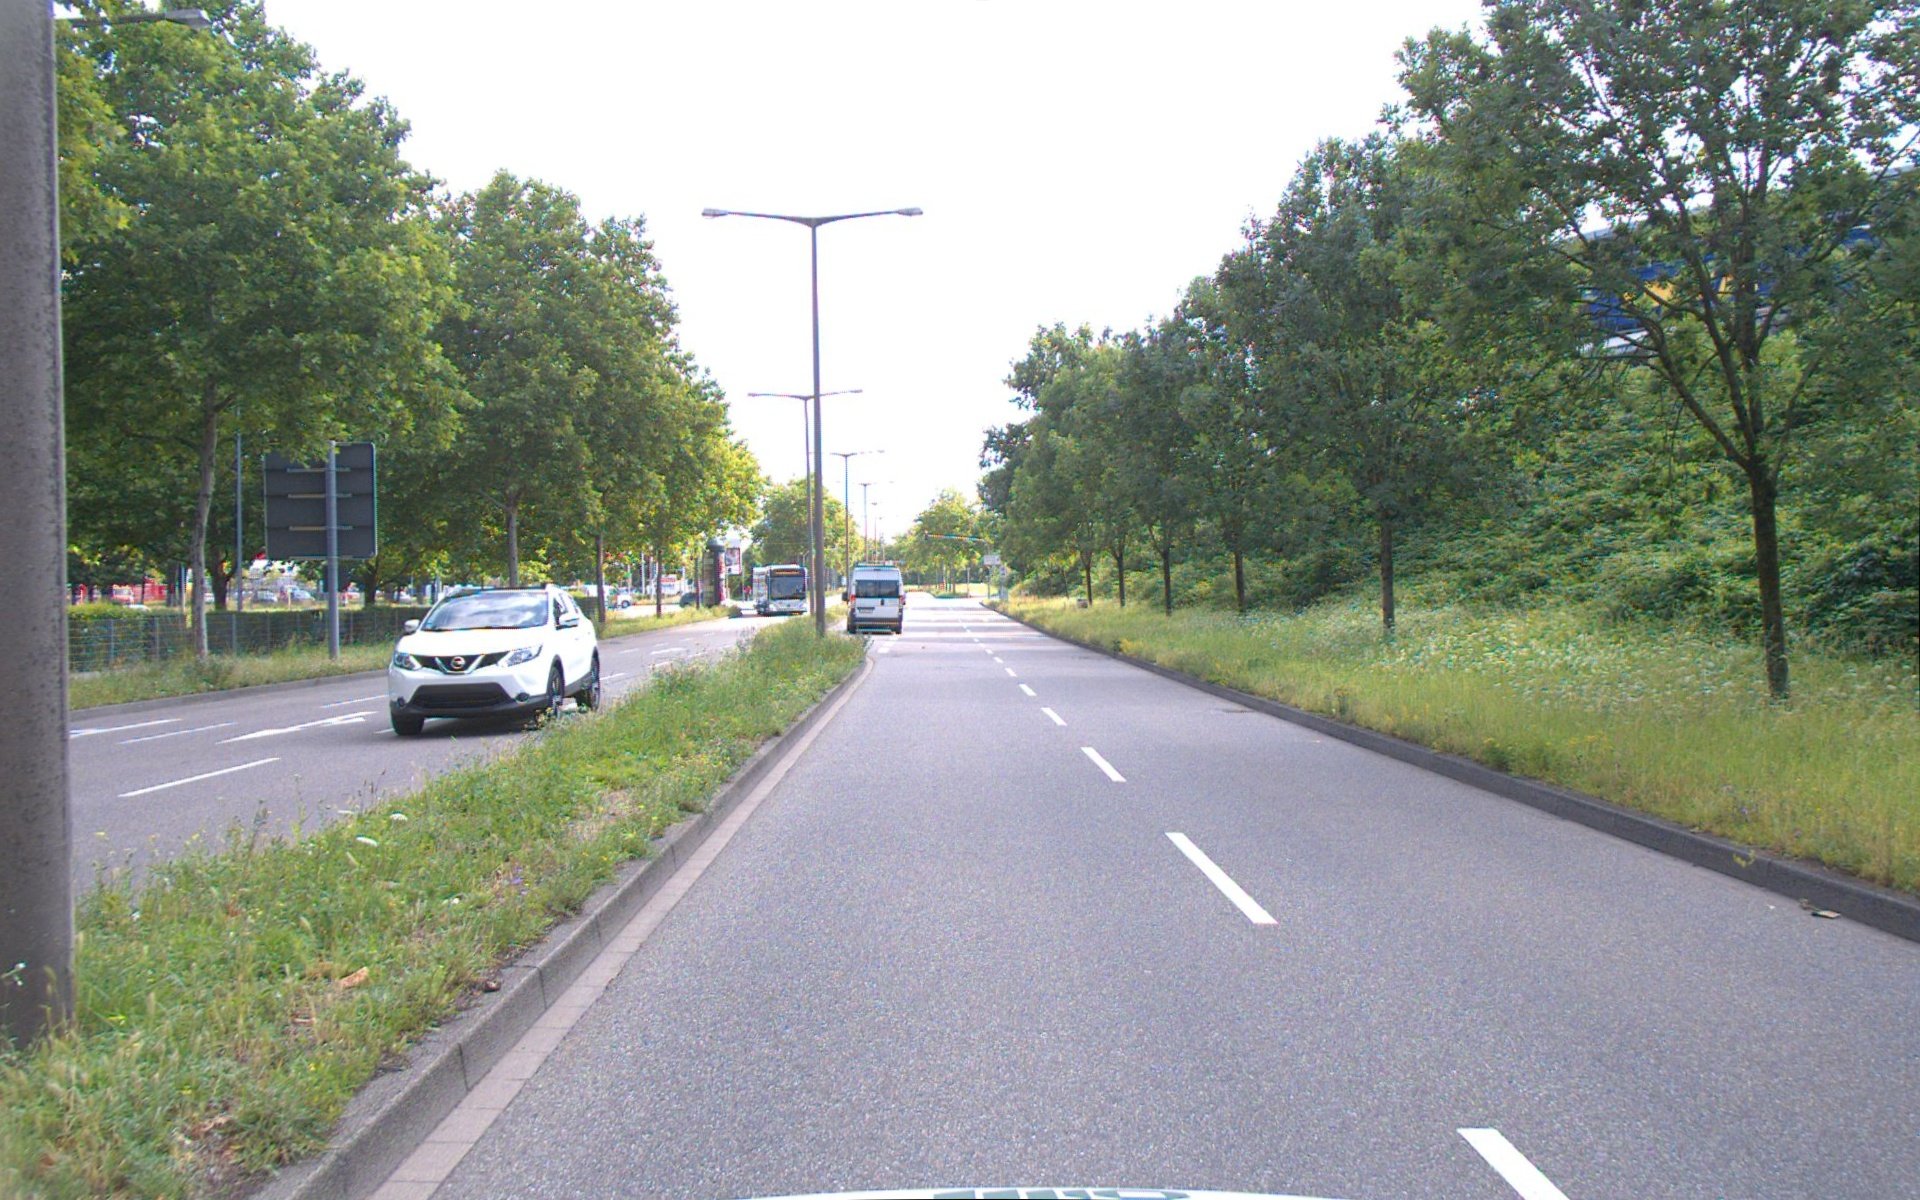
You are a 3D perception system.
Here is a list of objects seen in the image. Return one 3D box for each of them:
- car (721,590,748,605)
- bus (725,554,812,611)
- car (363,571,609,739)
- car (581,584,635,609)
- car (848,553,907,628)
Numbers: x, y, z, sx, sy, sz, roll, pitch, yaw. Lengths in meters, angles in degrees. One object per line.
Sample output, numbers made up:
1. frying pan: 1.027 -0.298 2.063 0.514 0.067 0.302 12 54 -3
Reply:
1. car: -16.633 -0.179 122.024 1.527 1.059 3.413 -1 0 -1
2. bus: -12.478 -1.025 106.728 3.062 3.331 12.271 -2 0 -18
3. car: -5.417 0.561 19.497 1.778 1.668 4.349 -3 0 -3
4. car: -28.807 -0.276 135.521 3.963 1.870 1.837 3 -4 -41
5. car: -3.257 -0.319 64.360 2.154 2.774 4.926 1 -1 -5
